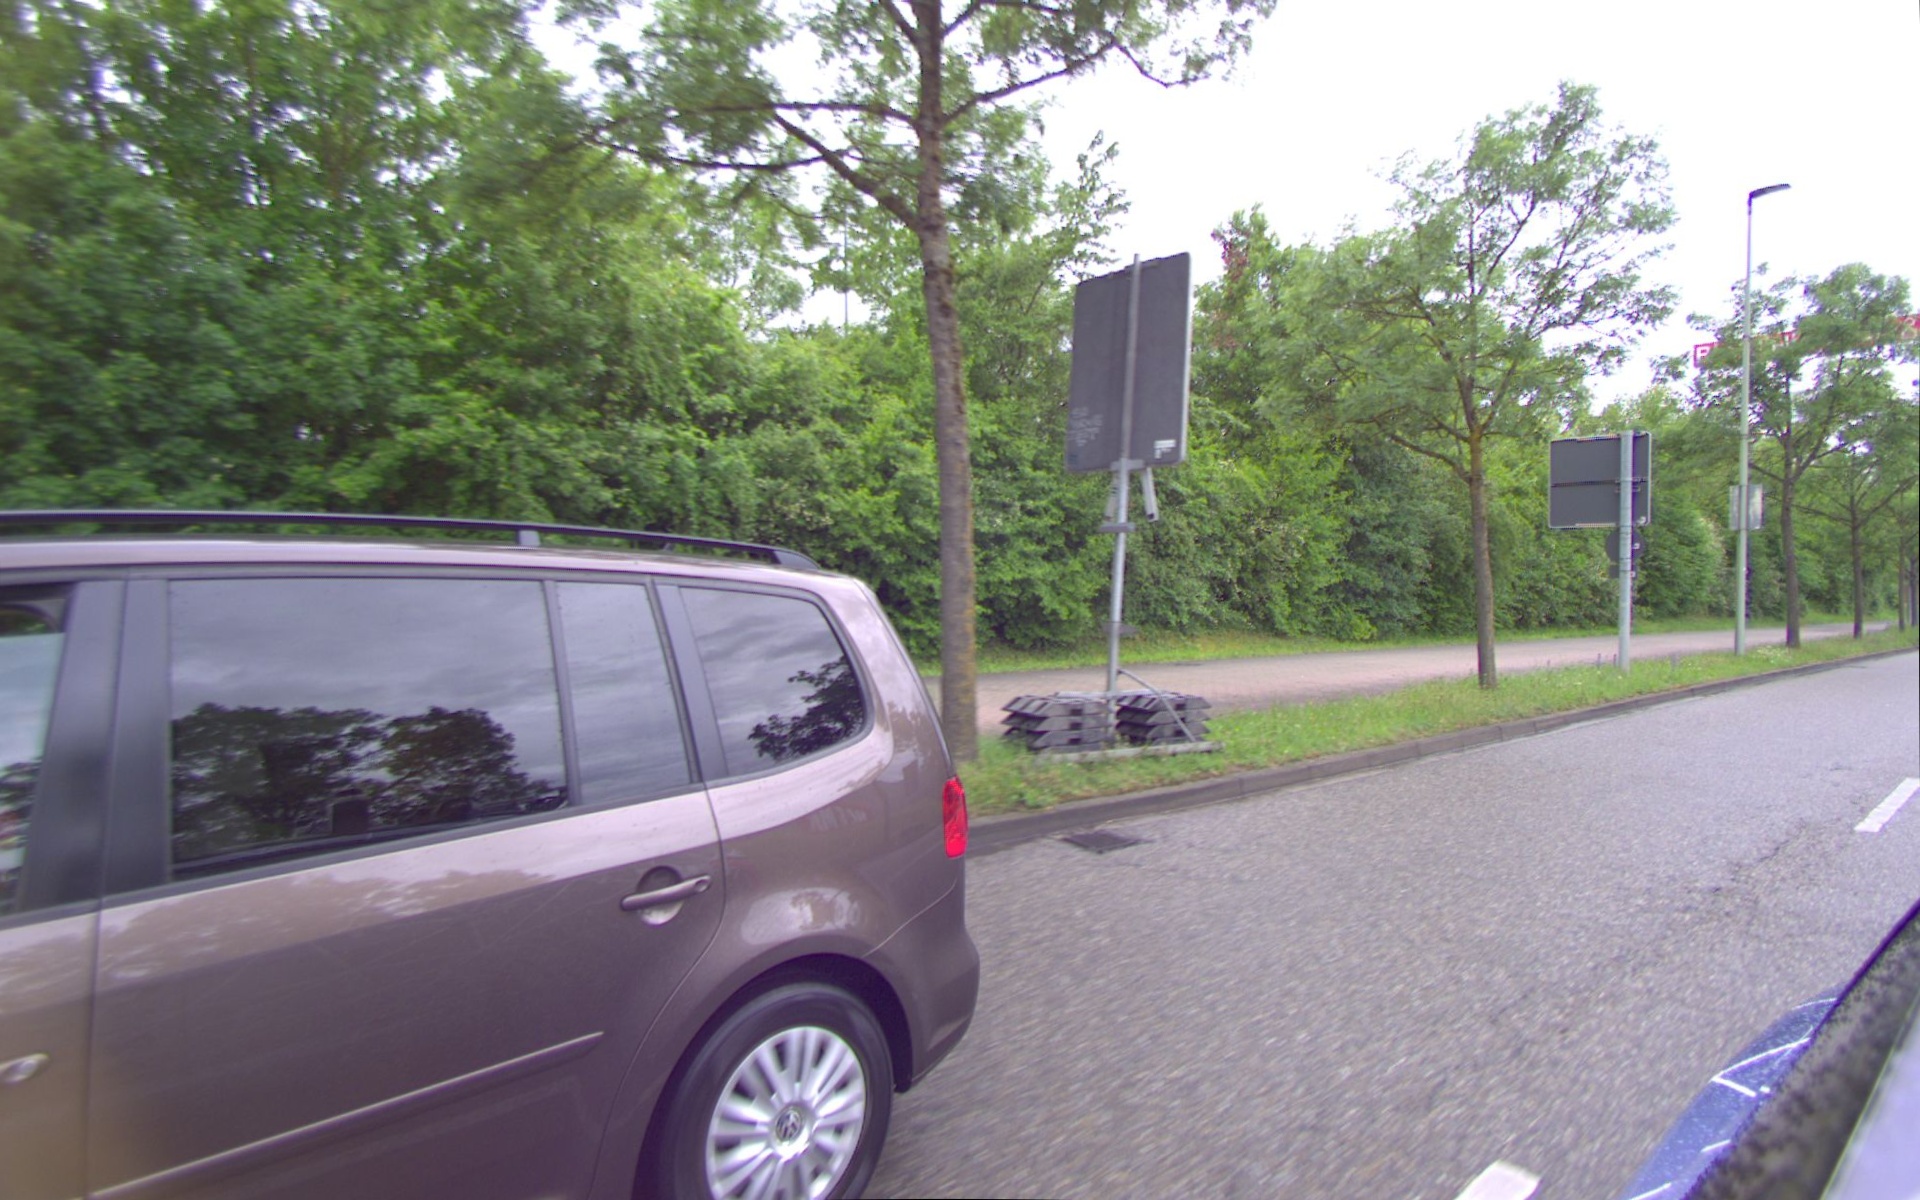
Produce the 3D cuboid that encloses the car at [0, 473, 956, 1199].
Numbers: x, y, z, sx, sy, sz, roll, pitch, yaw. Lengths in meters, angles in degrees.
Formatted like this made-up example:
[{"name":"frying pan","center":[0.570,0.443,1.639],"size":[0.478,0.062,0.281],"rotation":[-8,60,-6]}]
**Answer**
[{"name":"car","center":[-2.090,0.636,1.791],"size":[4.058,1.617,1.717],"rotation":[0,0,-41]}]
